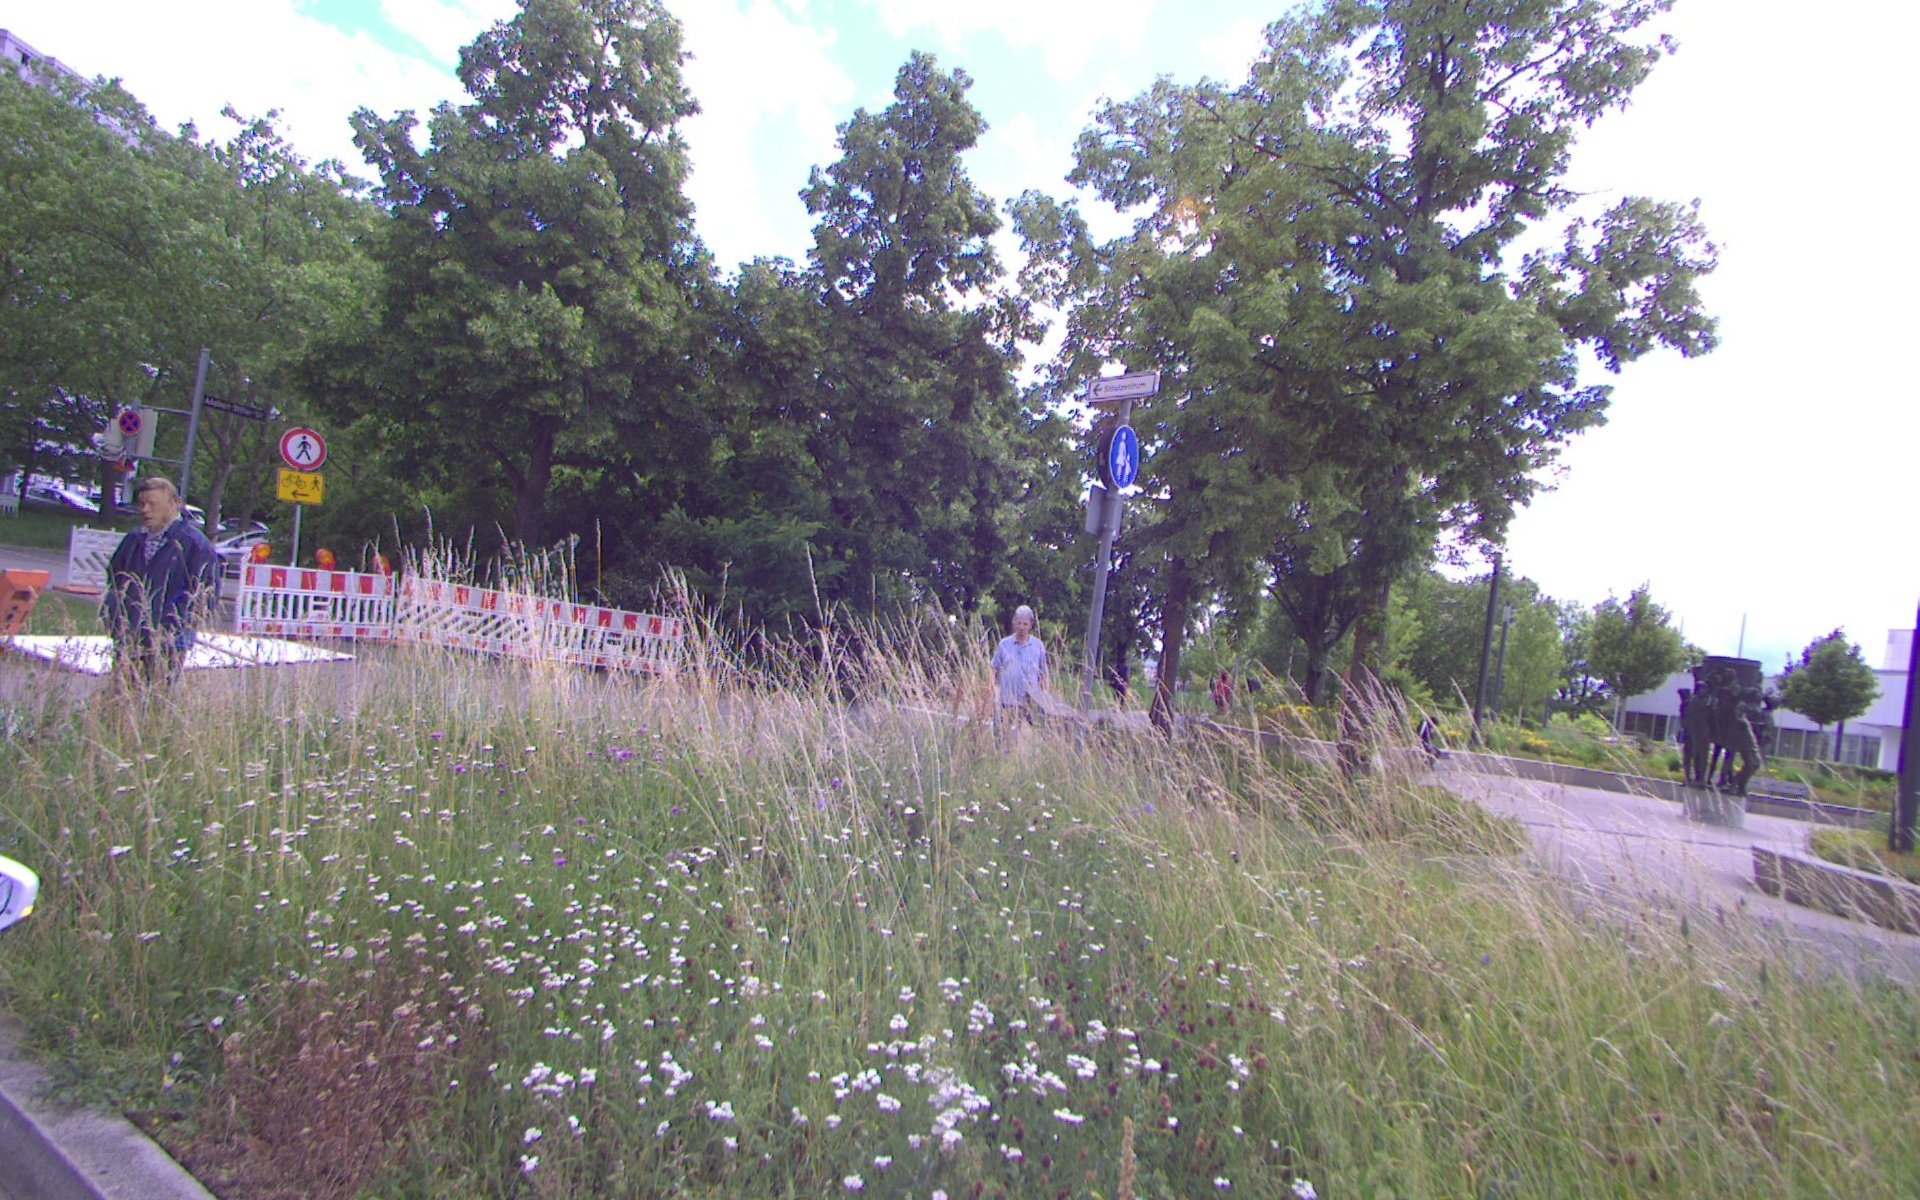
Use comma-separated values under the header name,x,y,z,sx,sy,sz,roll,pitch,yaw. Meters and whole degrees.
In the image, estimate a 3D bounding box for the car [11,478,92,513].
name,x,y,z,sx,sy,sz,roll,pitch,yaw
car,-54.442,-6.255,60.327,3.345,1.420,1.486,7,-2,1

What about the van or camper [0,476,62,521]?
name,x,y,z,sx,sy,sz,roll,pitch,yaw
van or camper,-44.310,-4.851,46.497,3.925,1.704,1.847,8,-1,4

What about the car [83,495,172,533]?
name,x,y,z,sx,sy,sz,roll,pitch,yaw
car,-43.773,-4.499,52.938,3.345,1.420,1.486,7,-2,2

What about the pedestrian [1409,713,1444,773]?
name,x,y,z,sx,sy,sz,roll,pitch,yaw
pedestrian,10.756,3.285,23.175,0.560,1.277,0.582,7,-1,29

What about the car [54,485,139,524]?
name,x,y,z,sx,sy,sz,roll,pitch,yaw
car,-54.460,-5.998,63.460,3.751,1.653,1.674,9,-1,1

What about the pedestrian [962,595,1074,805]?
name,x,y,z,sx,sy,sz,roll,pitch,yaw
pedestrian,0.556,0.920,9.473,0.715,1.812,0.694,8,0,14

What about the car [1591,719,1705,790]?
name,x,y,z,sx,sy,sz,roll,pitch,yaw
car,22.778,5.074,33.462,1.606,1.786,3.509,7,-2,9

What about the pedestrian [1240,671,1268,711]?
name,x,y,z,sx,sy,sz,roll,pitch,yaw
pedestrian,13.600,4.199,46.525,0.974,1.671,0.871,7,0,21

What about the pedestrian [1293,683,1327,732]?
name,x,y,z,sx,sy,sz,roll,pitch,yaw
pedestrian,13.031,3.980,37.483,0.974,1.671,0.871,7,0,21

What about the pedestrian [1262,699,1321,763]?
name,x,y,z,sx,sy,sz,roll,pitch,yaw
pedestrian,5.177,2.029,15.705,0.685,0.874,0.651,7,0,28

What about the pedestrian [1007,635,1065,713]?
name,x,y,z,sx,sy,sz,roll,pitch,yaw
pedestrian,1.808,1.749,23.836,0.974,1.671,0.871,7,0,21

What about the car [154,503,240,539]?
name,x,y,z,sx,sy,sz,roll,pitch,yaw
car,-44.636,-4.603,58.896,3.820,1.482,1.486,7,-1,1

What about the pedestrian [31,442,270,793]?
name,x,y,z,sx,sy,sz,roll,pitch,yaw
pedestrian,-4.496,0.102,5.672,0.720,1.761,0.949,8,-1,-30

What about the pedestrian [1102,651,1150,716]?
name,x,y,z,sx,sy,sz,roll,pitch,yaw
pedestrian,4.721,2.364,28.591,0.974,1.671,0.871,7,0,21

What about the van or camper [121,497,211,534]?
name,x,y,z,sx,sy,sz,roll,pitch,yaw
van or camper,-44.556,-4.738,56.490,3.706,1.372,1.519,8,-2,-1

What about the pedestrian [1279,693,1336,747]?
name,x,y,z,sx,sy,sz,roll,pitch,yaw
pedestrian,7.151,2.468,20.712,0.703,0.959,0.747,8,-1,-21

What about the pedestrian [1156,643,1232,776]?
name,x,y,z,sx,sy,sz,roll,pitch,yaw
pedestrian,3.266,1.515,14.035,0.685,1.715,0.651,7,0,28

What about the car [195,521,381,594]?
name,x,y,z,sx,sy,sz,roll,pitch,yaw
car,-20.976,-1.283,31.597,1.744,1.604,4.405,6,-2,33

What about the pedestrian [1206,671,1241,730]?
name,x,y,z,sx,sy,sz,roll,pitch,yaw
pedestrian,7.298,2.783,27.859,0.624,1.519,0.704,7,0,29

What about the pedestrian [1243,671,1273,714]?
name,x,y,z,sx,sy,sz,roll,pitch,yaw
pedestrian,12.916,3.991,43.543,0.974,1.671,0.871,7,0,21

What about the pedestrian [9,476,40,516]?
name,x,y,z,sx,sy,sz,roll,pitch,yaw
pedestrian,-50.768,-5.639,54.571,0.838,2.025,0.806,7,-1,28
